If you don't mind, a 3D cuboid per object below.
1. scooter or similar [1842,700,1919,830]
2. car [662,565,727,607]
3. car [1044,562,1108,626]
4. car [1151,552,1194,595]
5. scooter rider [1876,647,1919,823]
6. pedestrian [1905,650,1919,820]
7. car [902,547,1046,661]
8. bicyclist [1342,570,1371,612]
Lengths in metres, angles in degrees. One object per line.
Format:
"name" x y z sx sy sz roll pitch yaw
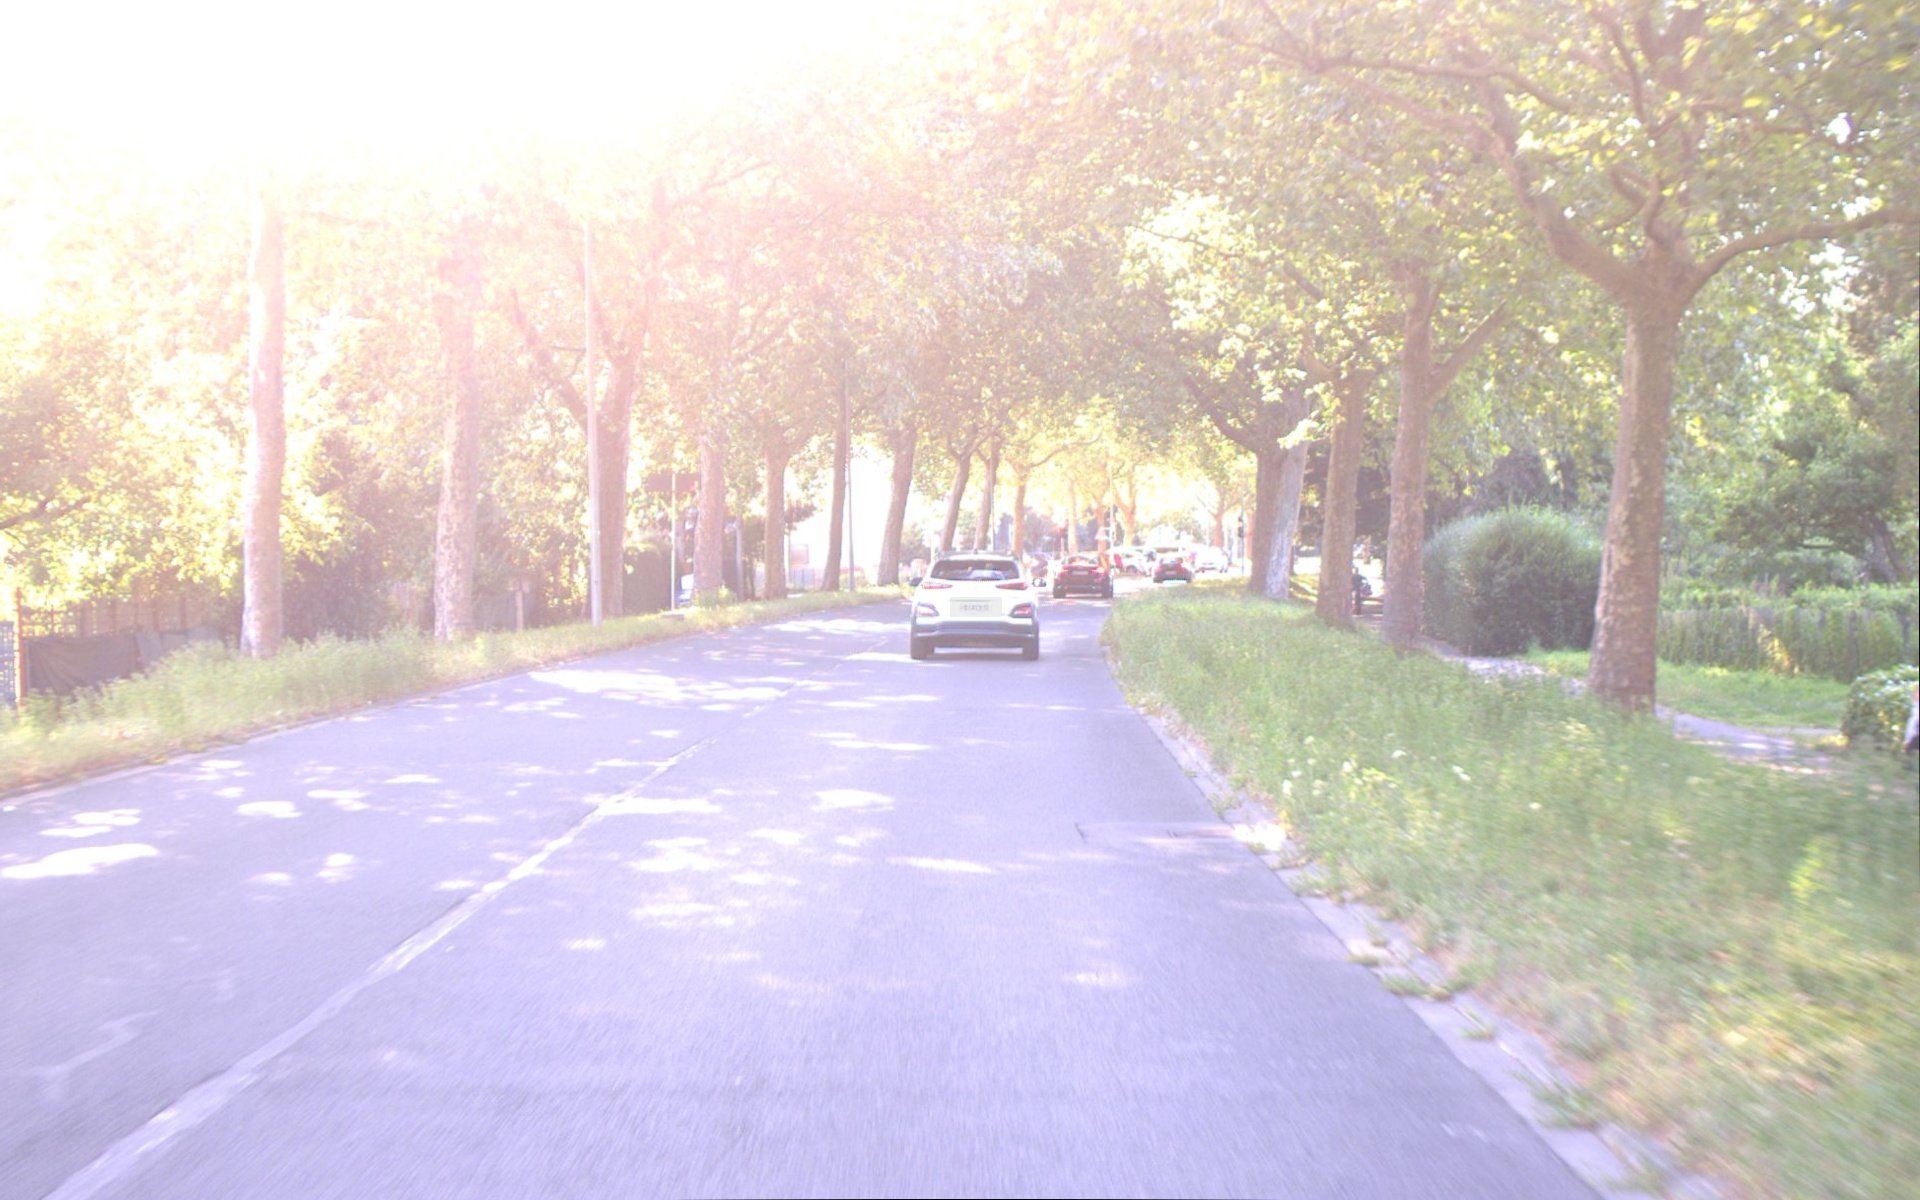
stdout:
"scooter or similar" 8.612 1.486 31.255 1.595 1.131 0.340 1 0 -43
"car" -8.949 -0.490 116.271 1.752 1.300 4.000 -1 2 2
"car" 3.814 -0.196 112.110 1.994 2.007 4.000 1 0 3
"car" 10.160 -1.258 164.017 1.994 2.007 3.999 1 0 4
"scooter rider" 8.916 1.224 31.371 0.784 1.571 0.843 1 0 40
"pedestrian" 9.380 1.264 32.239 0.783 1.571 0.843 1 0 31
"car" 0.232 0.045 49.857 1.993 1.569 4.000 1 0 1
"bicyclist" 12.777 -0.295 110.802 0.734 1.361 0.771 1 0 -7
